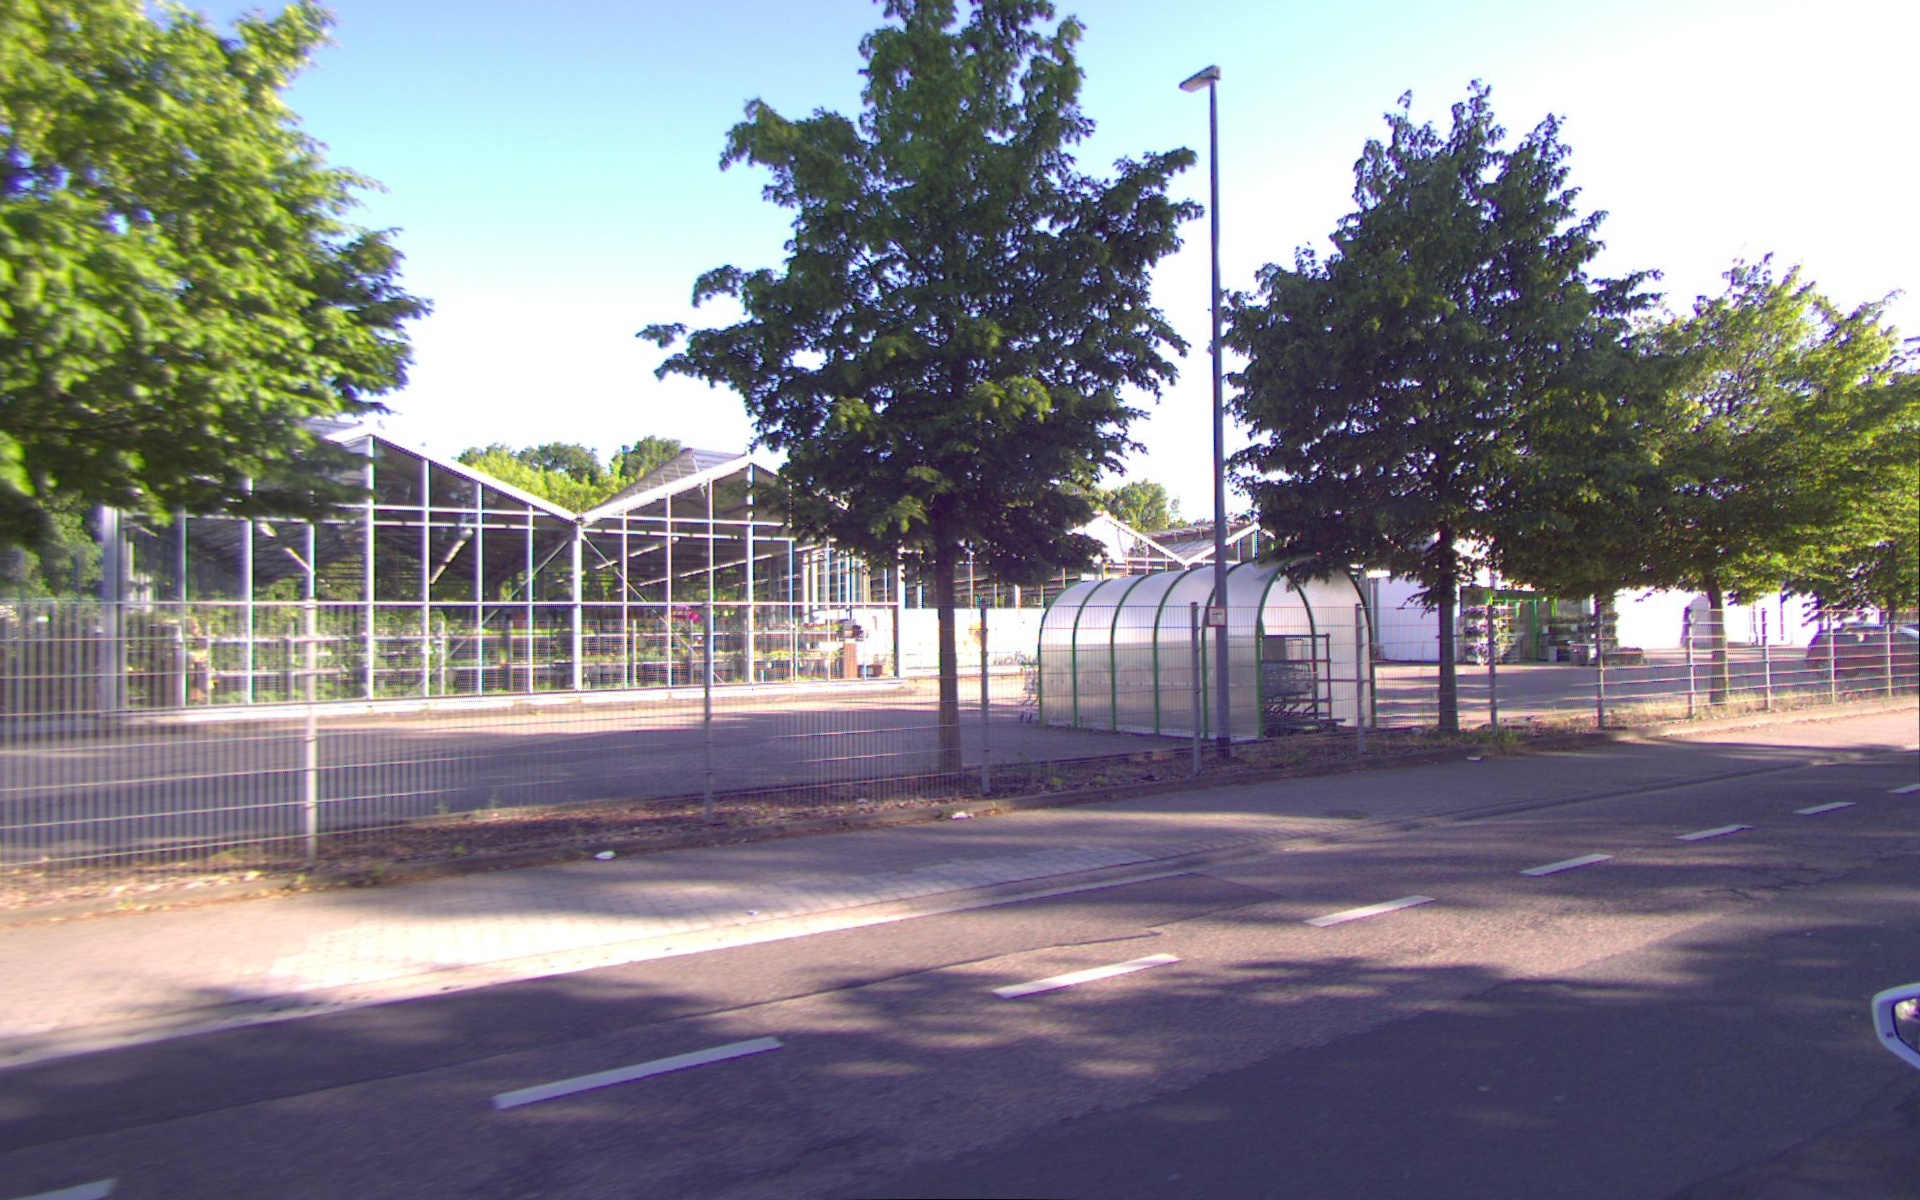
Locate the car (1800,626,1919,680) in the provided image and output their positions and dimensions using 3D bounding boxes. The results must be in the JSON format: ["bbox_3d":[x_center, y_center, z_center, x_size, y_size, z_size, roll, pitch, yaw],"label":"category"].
[{"bbox_3d":[26.972,1.524,29.026,1.785,1.469,3.709,-1,-4,-31],"label":"car"}]
